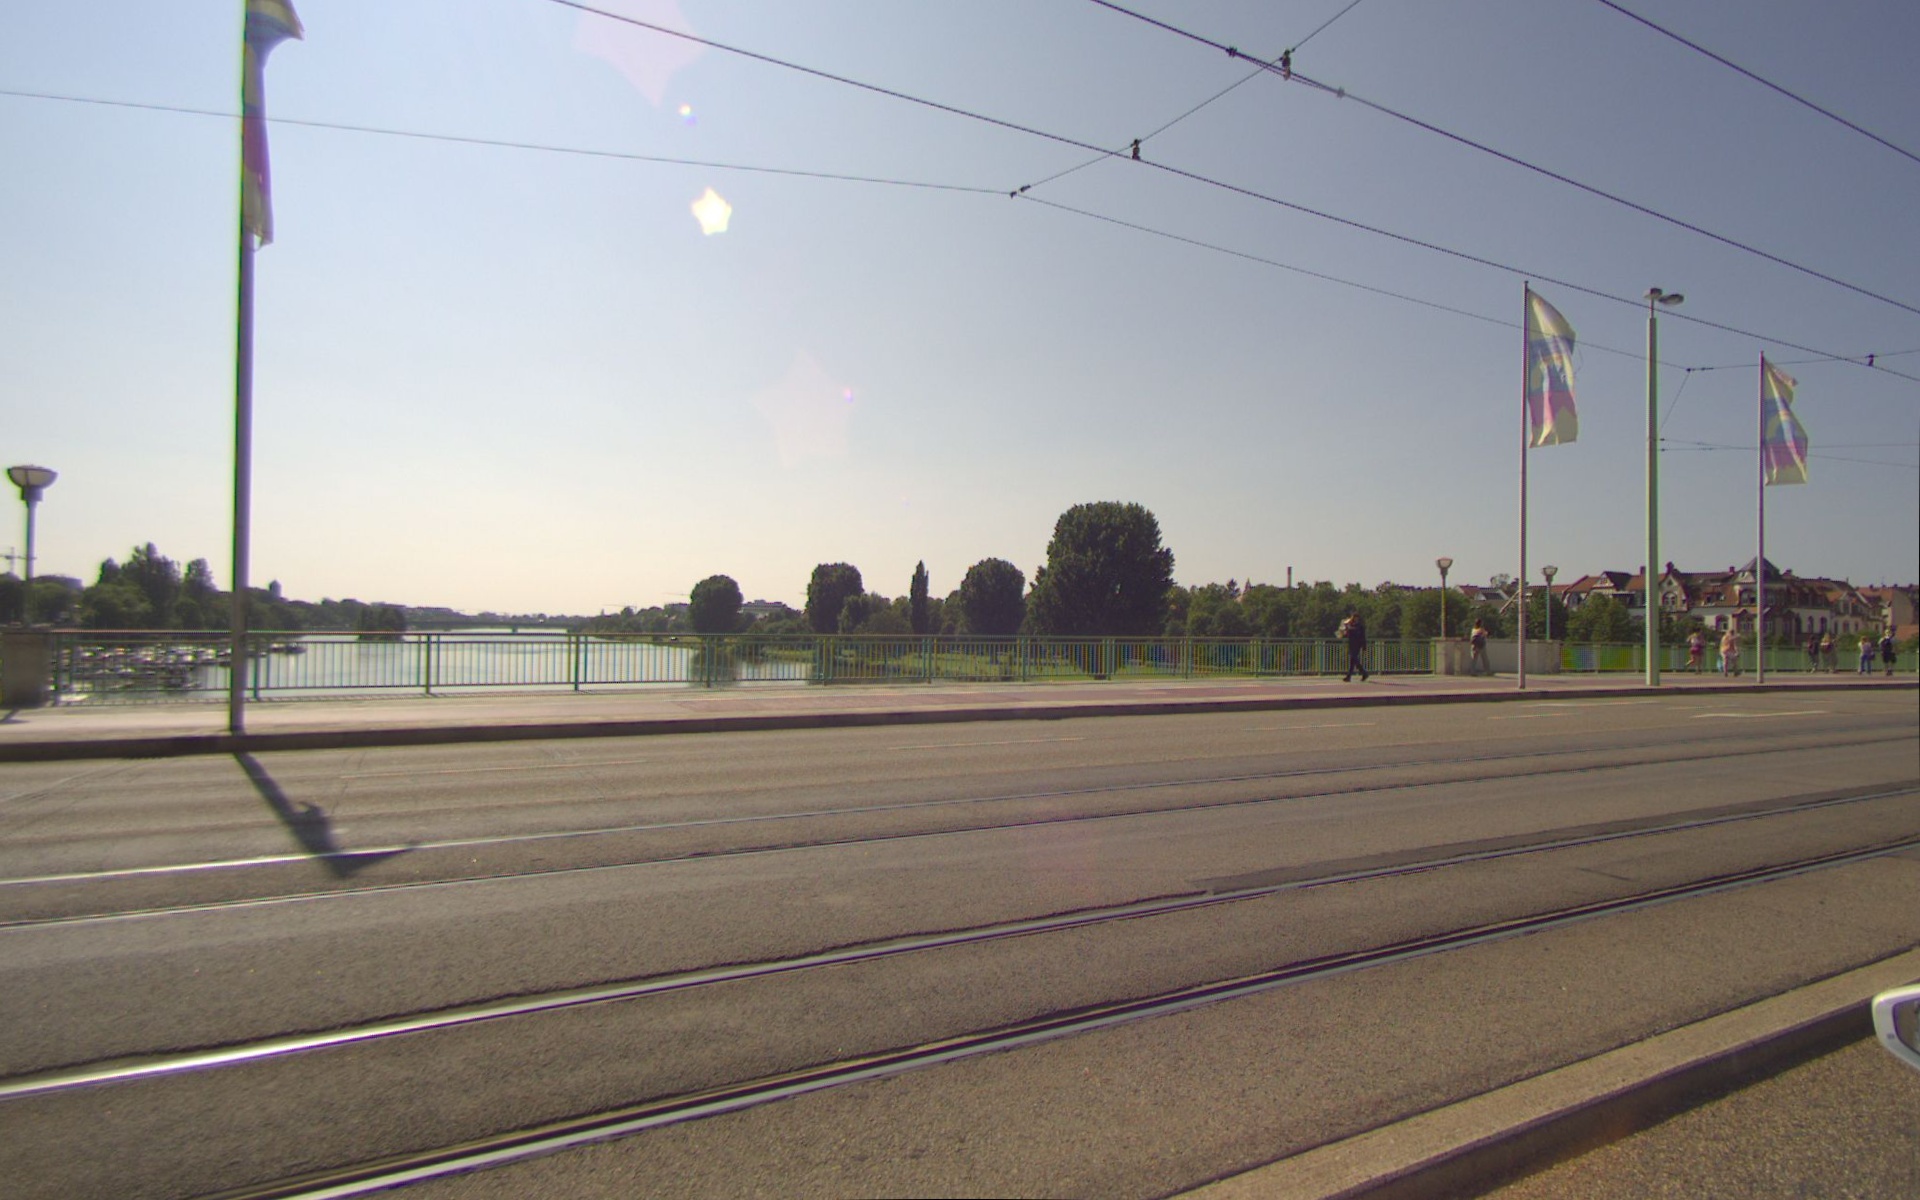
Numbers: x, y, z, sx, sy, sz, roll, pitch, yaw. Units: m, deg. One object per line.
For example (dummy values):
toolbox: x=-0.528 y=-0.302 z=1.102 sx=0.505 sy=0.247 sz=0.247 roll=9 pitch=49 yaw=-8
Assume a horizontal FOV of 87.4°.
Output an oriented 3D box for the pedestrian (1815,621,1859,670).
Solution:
pedestrian: x=36.675 y=1.888 z=41.998 sx=1.116 sy=2.040 sz=1.092 roll=1 pitch=-1 yaw=-30

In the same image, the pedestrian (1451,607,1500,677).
pedestrian: x=15.428 y=1.249 z=30.069 sx=1.030 sy=2.040 sz=0.894 roll=1 pitch=-1 yaw=-31

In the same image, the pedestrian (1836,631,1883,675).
pedestrian: x=36.496 y=2.136 z=40.742 sx=1.280 sy=1.752 sz=1.092 roll=1 pitch=-1 yaw=-31

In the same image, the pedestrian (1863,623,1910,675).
pedestrian: x=36.986 y=1.935 z=40.100 sx=1.280 sy=2.040 sz=1.092 roll=1 pitch=-1 yaw=-31

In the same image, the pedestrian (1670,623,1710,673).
pedestrian: x=26.102 y=1.725 z=35.915 sx=1.162 sy=1.745 sz=0.750 roll=2 pitch=-1 yaw=-31

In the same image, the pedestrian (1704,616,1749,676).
pedestrian: x=26.723 y=1.588 z=35.024 sx=1.090 sy=2.040 sz=0.963 roll=1 pitch=-1 yaw=-33

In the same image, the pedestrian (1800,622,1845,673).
pedestrian: x=35.189 y=1.909 z=40.989 sx=1.116 sy=2.040 sz=1.092 roll=1 pitch=-1 yaw=-30

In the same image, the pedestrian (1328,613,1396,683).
pedestrian: x=10.511 y=1.231 z=26.277 sx=1.280 sy=1.781 sz=1.092 roll=1 pitch=-1 yaw=-31
